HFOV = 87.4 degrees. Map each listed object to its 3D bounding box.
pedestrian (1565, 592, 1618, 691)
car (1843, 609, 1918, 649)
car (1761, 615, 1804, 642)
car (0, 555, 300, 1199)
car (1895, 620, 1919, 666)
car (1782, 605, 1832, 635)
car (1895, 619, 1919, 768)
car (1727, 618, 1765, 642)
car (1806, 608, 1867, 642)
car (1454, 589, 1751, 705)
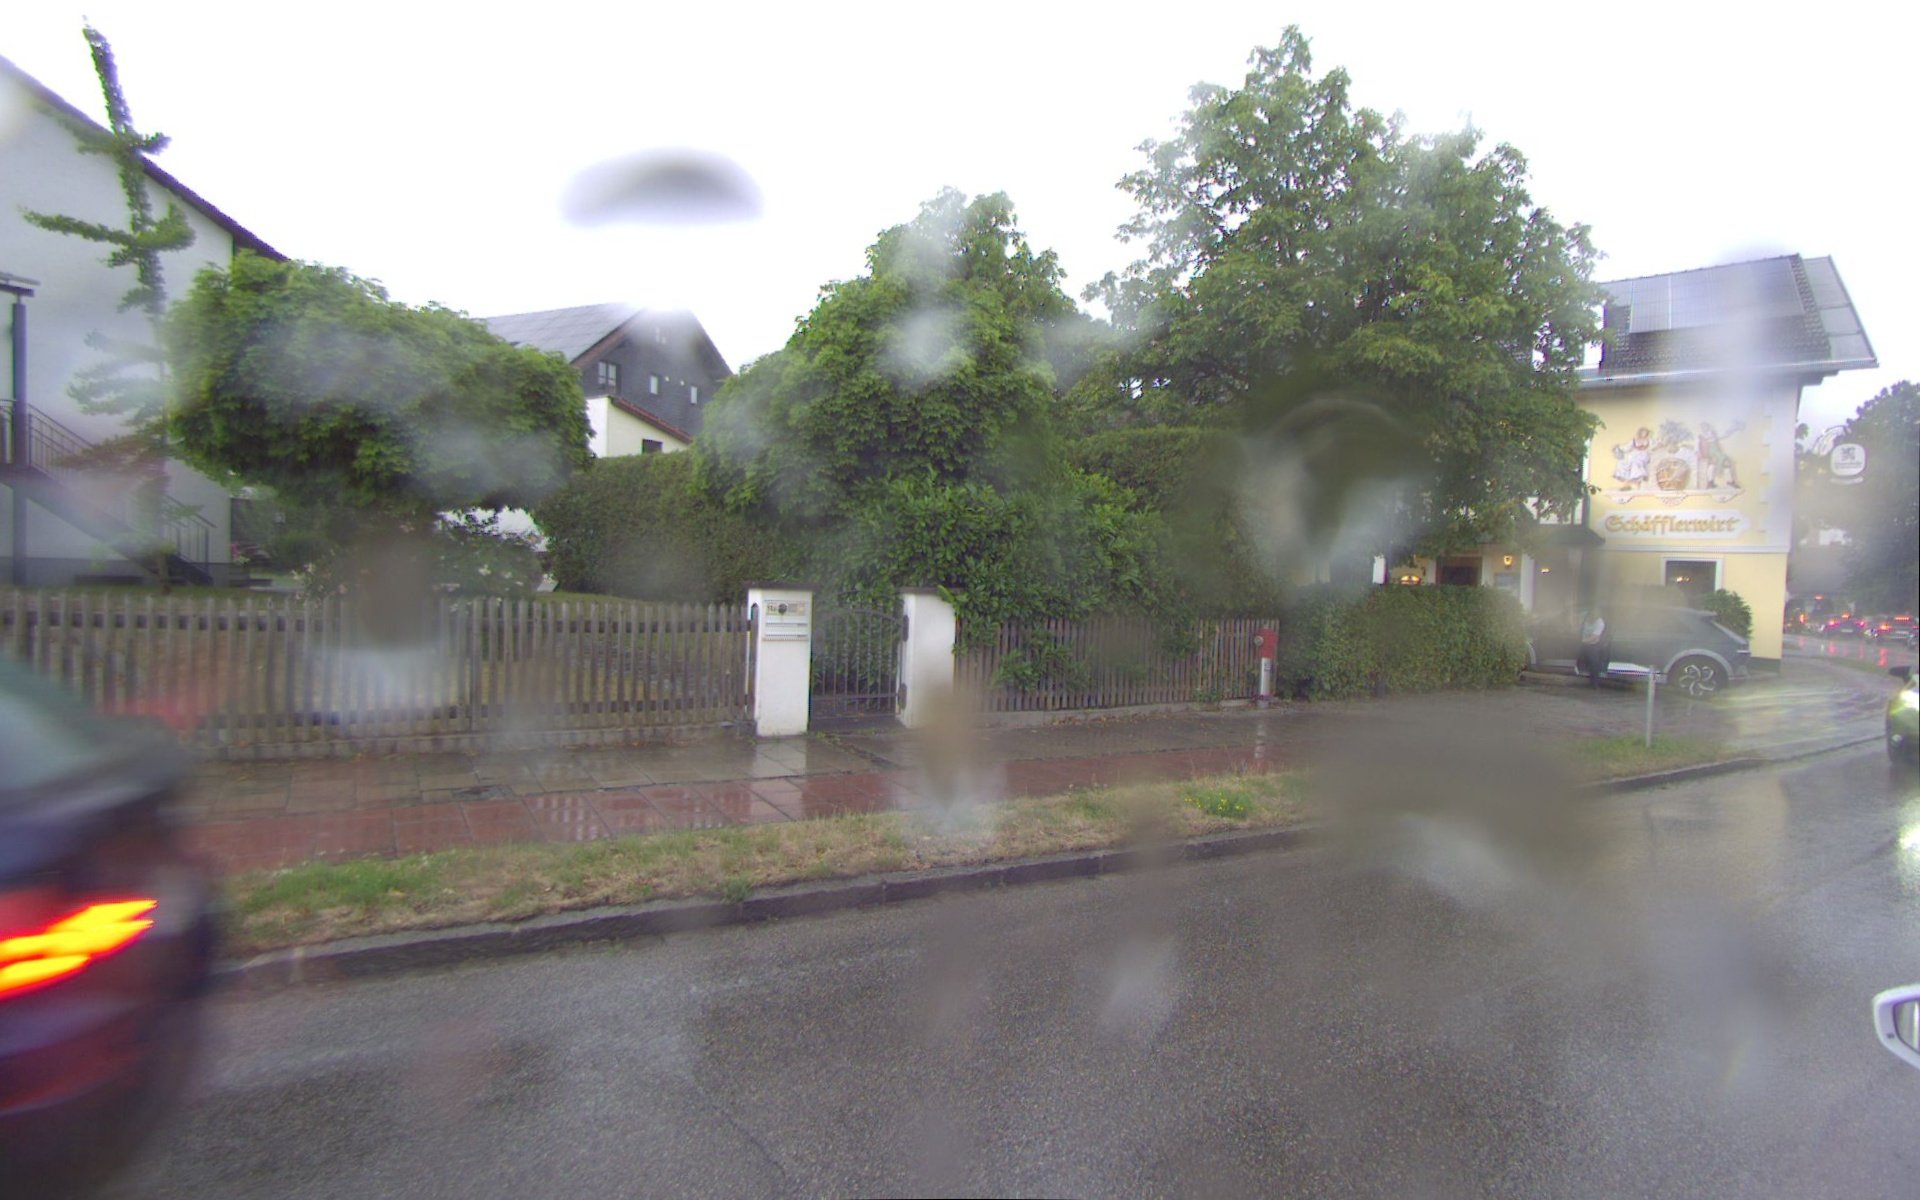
[{"bbox_3d":[11.347,0.740,18.061,0.547,1.712,0.488,2,4,-30],"label":"pedestrian"},{"bbox_3d":[49.487,1.513,54.130,2.139,1.925,4.999,3,2,33],"label":"car"},{"bbox_3d":[67.751,2.328,82.767,2.139,1.925,4.999,3,2,33],"label":"car"},{"bbox_3d":[-3.479,0.608,1.249,4.325,1.485,1.771,2,1,-31],"label":"car"},{"bbox_3d":[44.594,1.995,45.701,2.139,1.925,4.999,3,2,33],"label":"car"},{"bbox_3d":[61.948,1.430,73.507,2.139,1.925,4.999,3,2,33],"label":"car"},{"bbox_3d":[11.910,1.003,11.285,4.155,1.541,1.624,1,-1,-41],"label":"car"},{"bbox_3d":[59.281,2.252,75.824,1.896,1.767,4.181,0,-1,33],"label":"car"},{"bbox_3d":[55.653,1.555,63.871,2.139,1.925,4.999,3,2,33],"label":"car"},{"bbox_3d":[11.919,0.781,18.936,4.413,1.589,1.834,6,5,32],"label":"car"}]
